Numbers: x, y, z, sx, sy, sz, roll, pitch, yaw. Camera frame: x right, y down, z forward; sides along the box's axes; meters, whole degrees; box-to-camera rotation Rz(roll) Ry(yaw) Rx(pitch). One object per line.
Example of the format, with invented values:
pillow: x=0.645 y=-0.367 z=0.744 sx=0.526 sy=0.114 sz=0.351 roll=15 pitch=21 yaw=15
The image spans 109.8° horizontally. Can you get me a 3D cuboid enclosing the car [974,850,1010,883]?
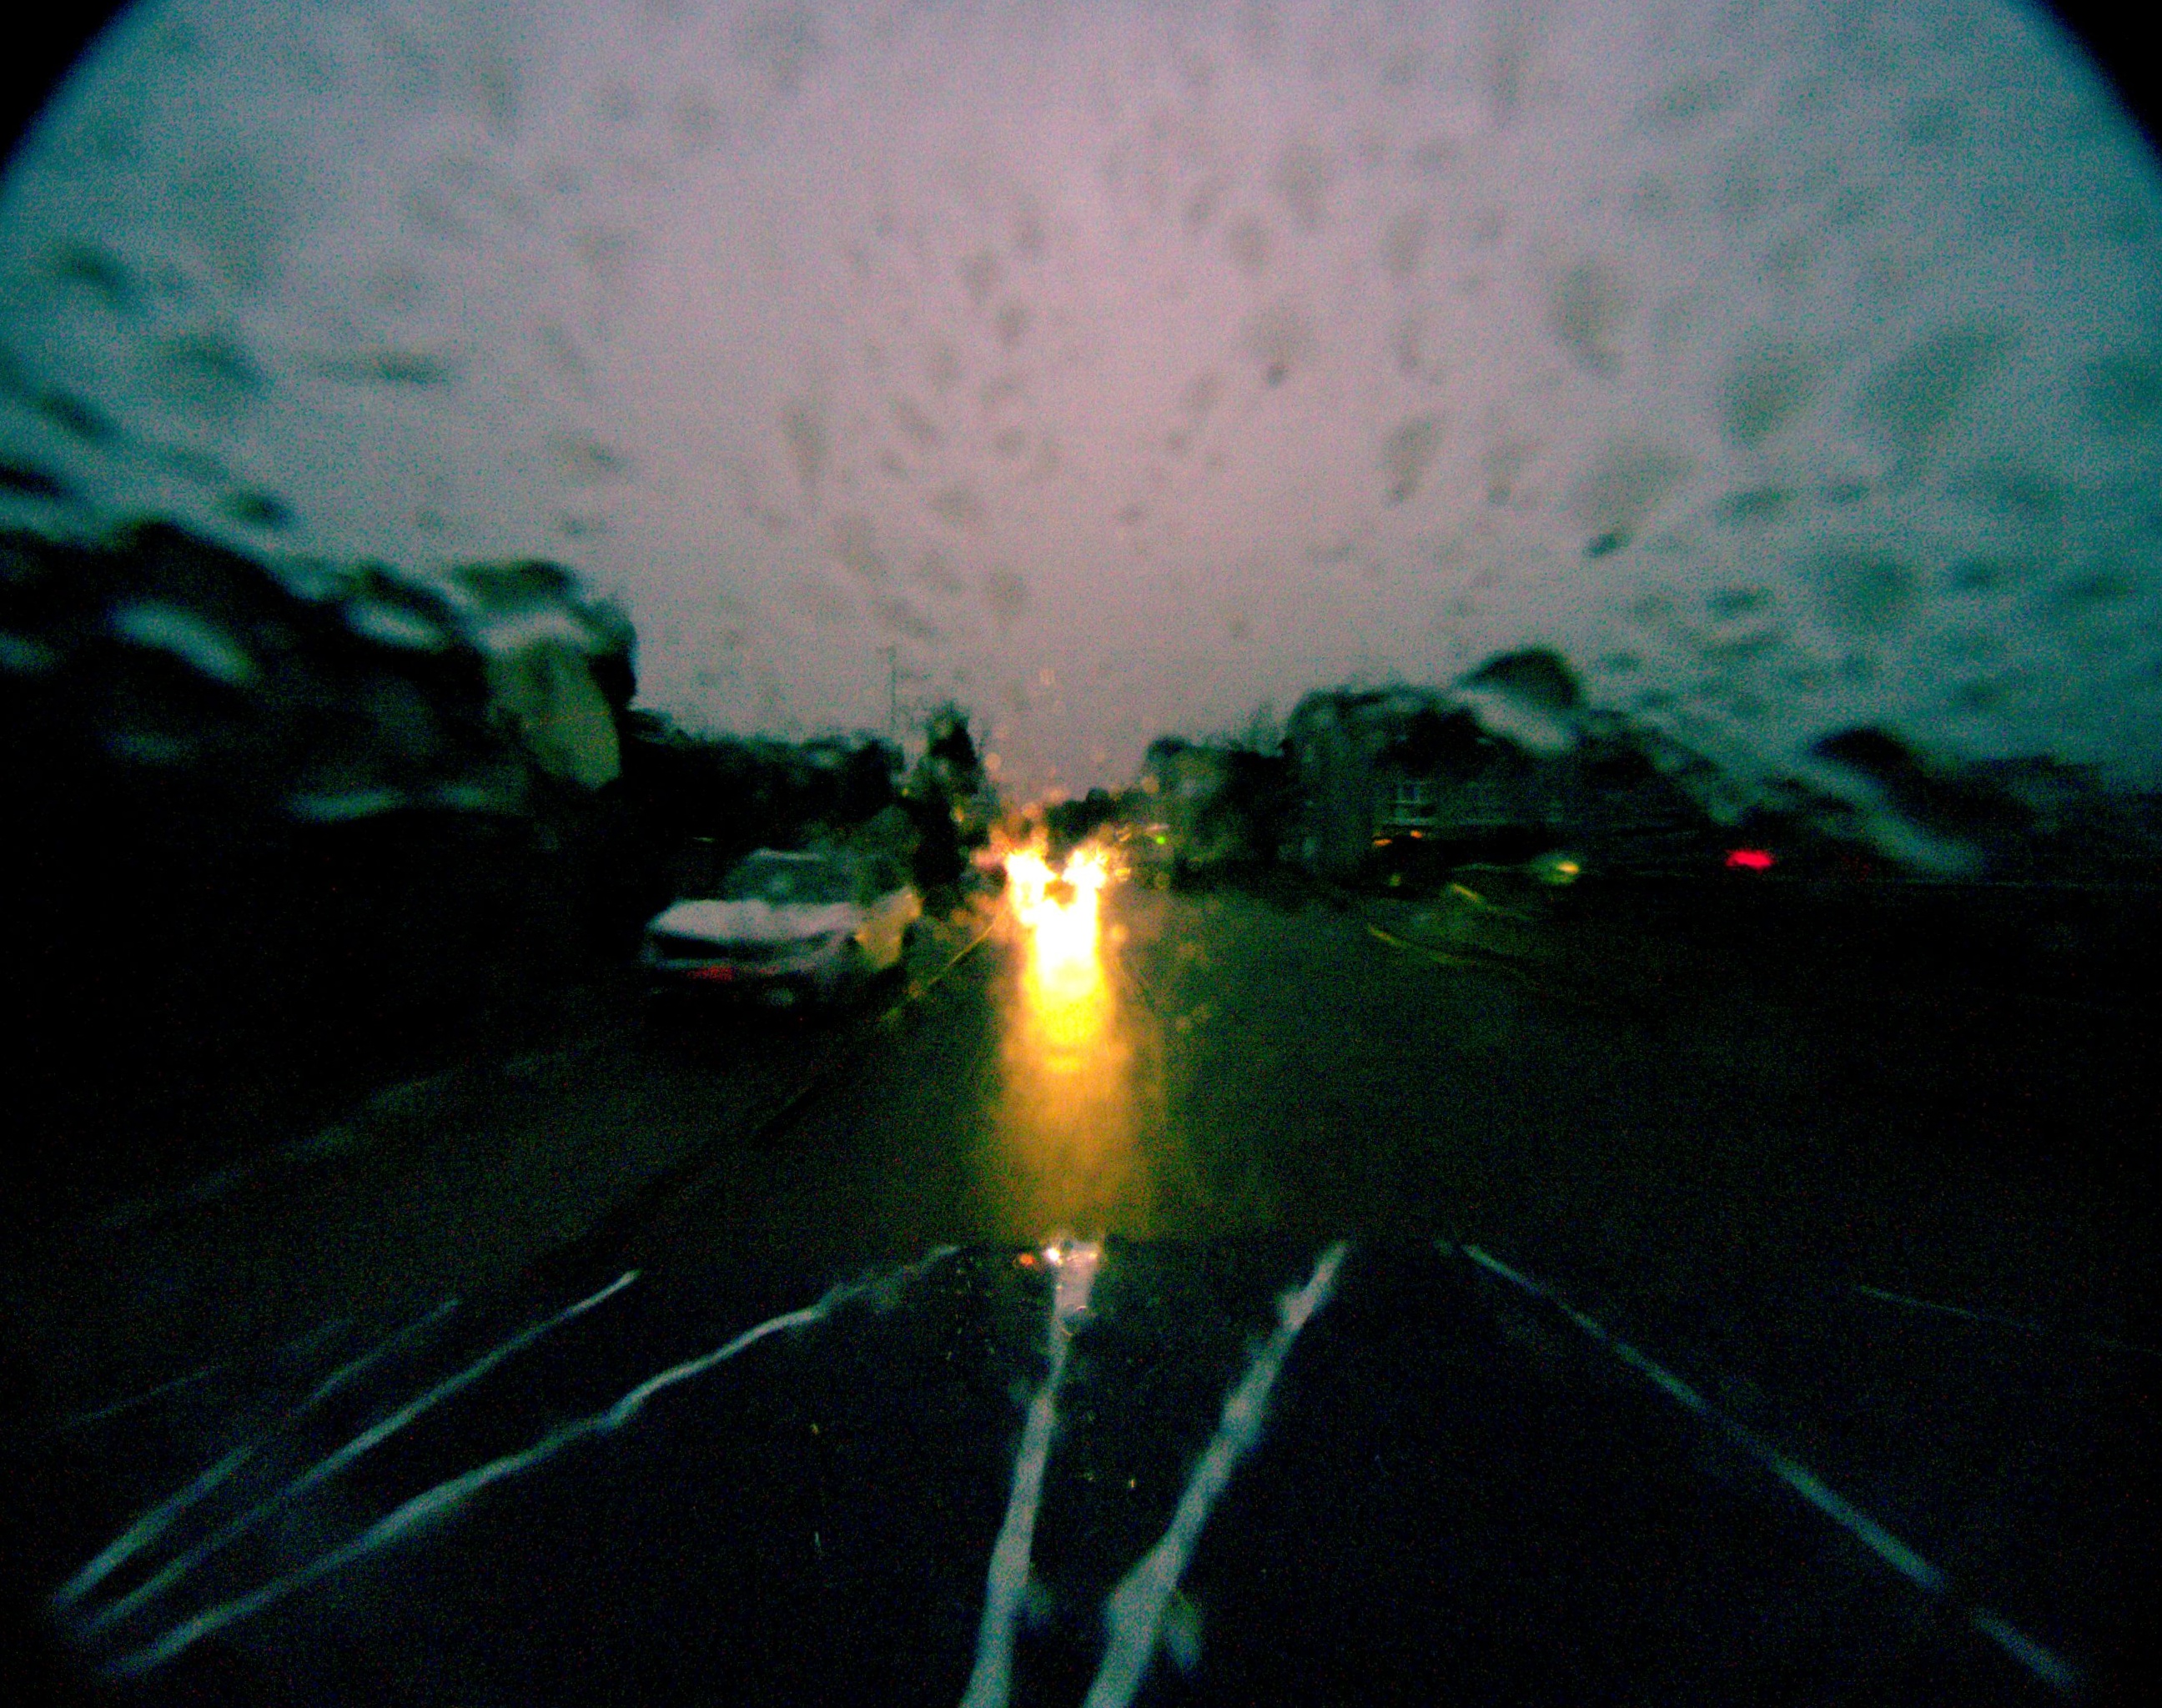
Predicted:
car: x=-5.094 y=0.694 z=43.743 sx=1.917 sy=1.780 sz=4.564 roll=1 pitch=0 yaw=-6

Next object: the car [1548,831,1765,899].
car: x=15.172 y=0.308 z=20.381 sx=4.335 sy=1.611 sz=2.003 roll=-2 pitch=0 yaw=28

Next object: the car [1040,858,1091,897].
car: x=-0.667 y=1.007 z=32.685 sx=1.999 sy=1.525 sz=4.000 roll=-1 pitch=-1 yaw=-1

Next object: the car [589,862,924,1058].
car: x=-3.130 y=0.899 z=8.432 sx=1.812 sy=1.555 sz=4.305 roll=1 pitch=0 yaw=1

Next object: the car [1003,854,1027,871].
car: x=-6.382 y=0.823 z=73.889 sx=1.906 sy=1.630 sz=4.566 roll=1 pitch=0 yaw=-1

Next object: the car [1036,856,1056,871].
car: x=-3.736 y=1.011 z=80.518 sx=1.827 sy=1.461 sz=4.054 roll=1 pitch=-1 yaw=-8
